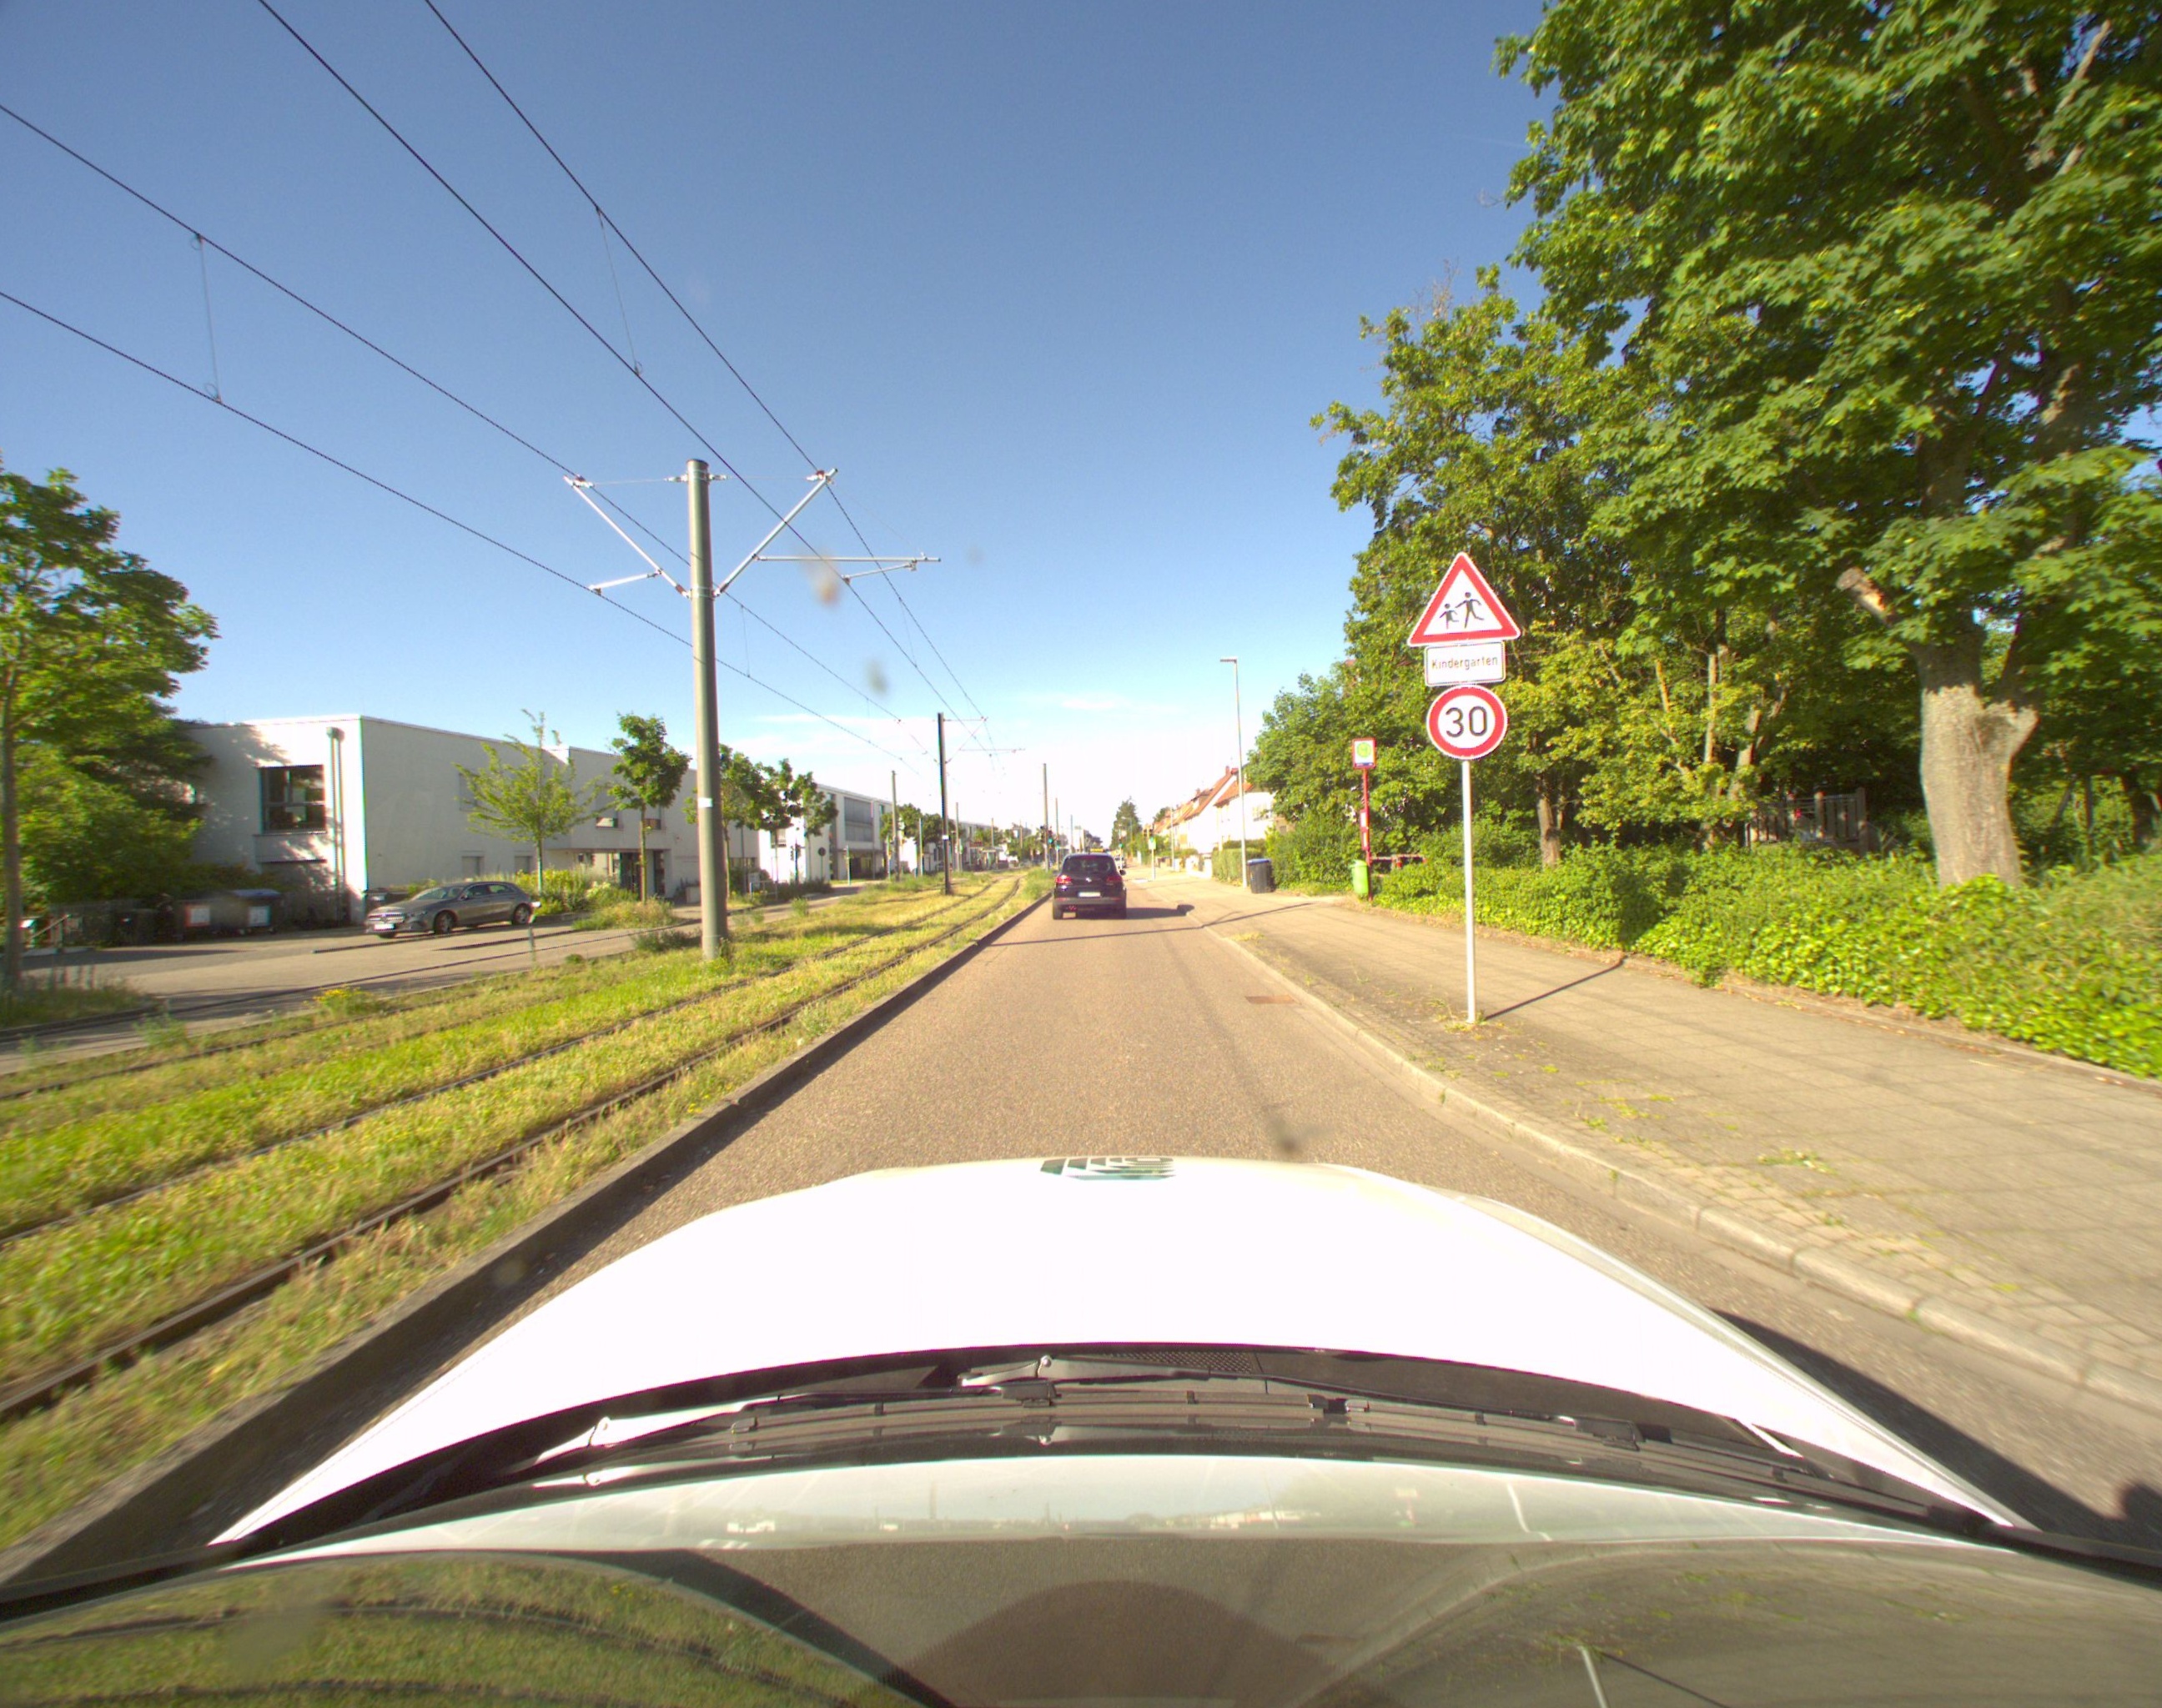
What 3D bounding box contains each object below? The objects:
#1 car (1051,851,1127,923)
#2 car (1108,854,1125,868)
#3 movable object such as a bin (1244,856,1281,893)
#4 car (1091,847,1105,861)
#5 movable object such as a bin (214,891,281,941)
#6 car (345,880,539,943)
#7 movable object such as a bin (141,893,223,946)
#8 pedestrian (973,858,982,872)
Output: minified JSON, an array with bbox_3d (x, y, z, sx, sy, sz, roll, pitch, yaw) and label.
[{"bbox_3d":[0.182,0.781,21.313,1.770,1.670,3.999,-1,0,0],"label":"car"},{"bbox_3d":[4.343,0.842,100.099,1.770,1.670,3.999,-2,0,0],"label":"car"},{"bbox_3d":[5.861,0.652,26.341,0.971,1.111,1.172,-3,0,5],"label":"movable object such as a bin"},{"bbox_3d":[3.295,-0.026,158.631,2.385,2.564,5.533,-2,0,2],"label":"car"},{"bbox_3d":[-25.376,1.868,24.826,0.660,1.433,1.258,-1,0,10],"label":"movable object such as a bin"},{"bbox_3d":[-17.970,1.562,23.213,1.801,1.461,4.325,-1,0,6],"label":"car"},{"bbox_3d":[-25.621,1.855,23.232,0.660,1.383,1.425,-1,0,10],"label":"movable object such as a bin"},{"bbox_3d":[-12.199,1.262,95.854,0.883,1.587,0.624,-2,0,-17],"label":"pedestrian"}]
